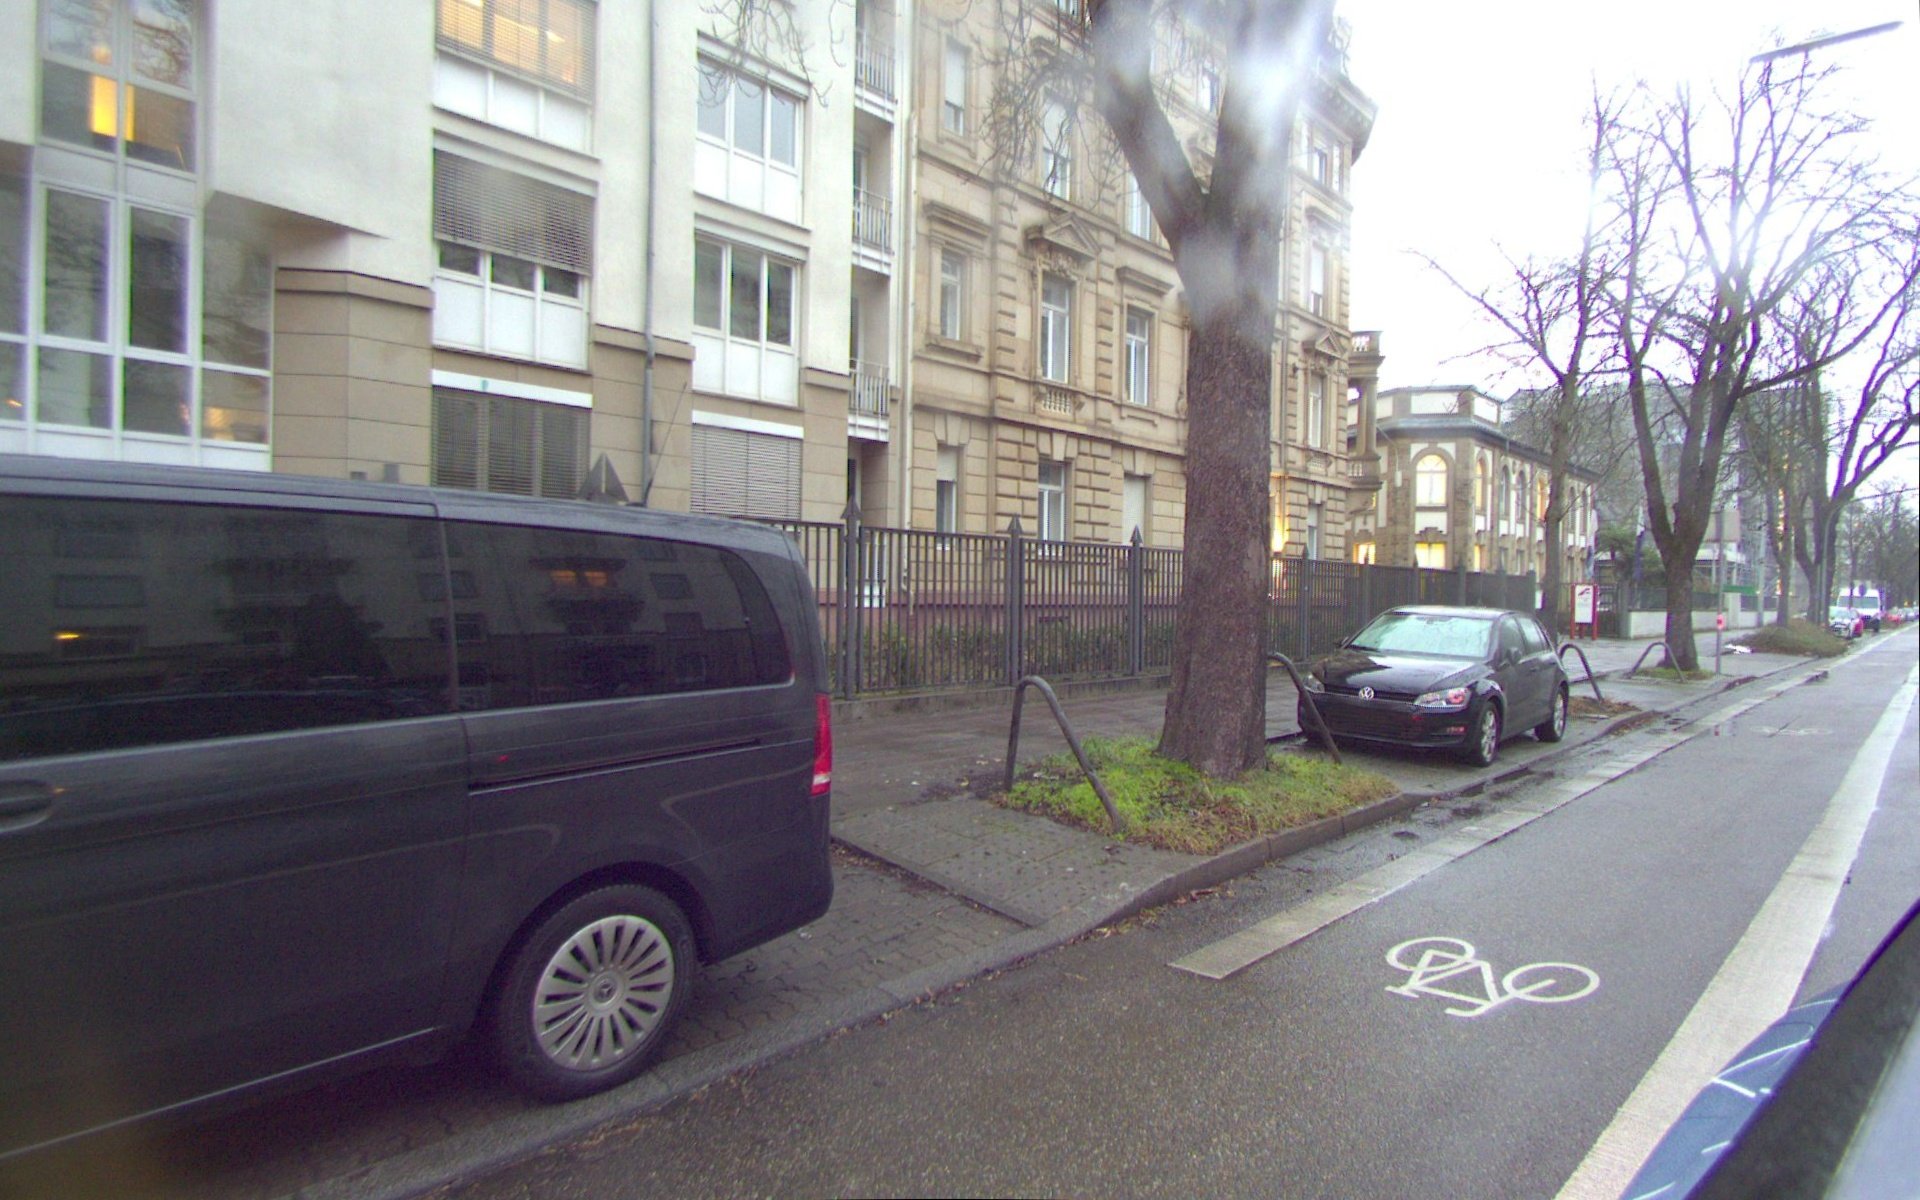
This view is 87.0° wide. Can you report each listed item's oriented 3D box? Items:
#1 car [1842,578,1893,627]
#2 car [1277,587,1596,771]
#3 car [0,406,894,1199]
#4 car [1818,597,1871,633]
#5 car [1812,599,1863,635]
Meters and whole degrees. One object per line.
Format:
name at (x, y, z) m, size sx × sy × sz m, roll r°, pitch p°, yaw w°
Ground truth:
car at (52.105, 0.097, 58.119) m, size 2.086 × 2.670 × 5.367 m, roll 0°, pitch 1°, yaw 42°
car at (5.122, 0.676, 10.596) m, size 1.758 × 1.463 × 4.091 m, roll 4°, pitch 2°, yaw 44°
car at (-2.699, 0.523, 2.751) m, size 4.882 × 1.899 × 2.032 m, roll 0°, pitch 2°, yaw -45°
car at (44.923, 0.711, 51.381) m, size 1.992 × 1.703 × 3.939 m, roll 0°, pitch 1°, yaw 42°
car at (38.273, 0.699, 44.120) m, size 1.623 × 1.425 × 3.939 m, roll 0°, pitch 1°, yaw 42°
